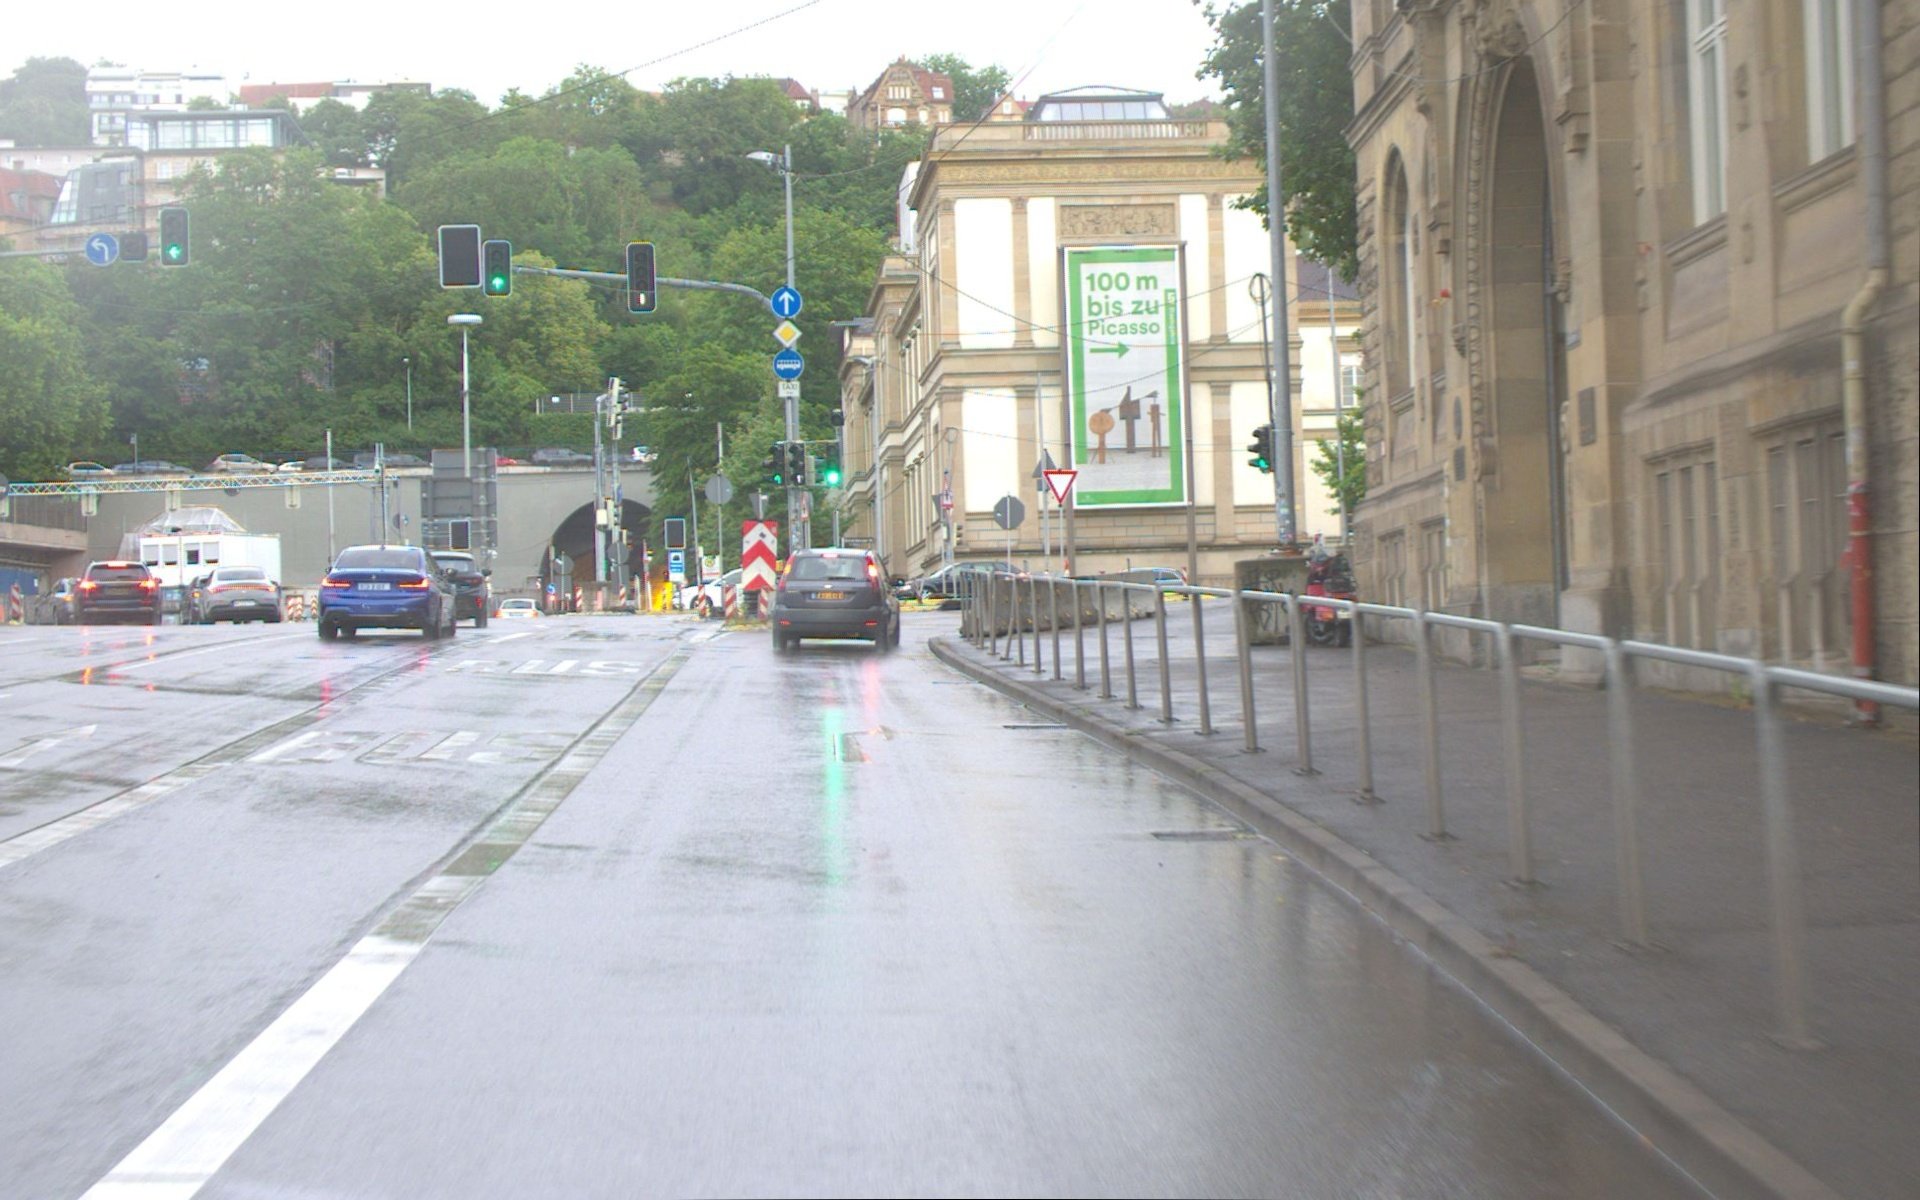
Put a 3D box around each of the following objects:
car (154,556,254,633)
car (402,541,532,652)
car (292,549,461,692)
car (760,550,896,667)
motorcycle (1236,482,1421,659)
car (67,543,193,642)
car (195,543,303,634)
[{"bbox_3d":[-21.586,-0.130,98.255,1.993,2.007,4.000,-2,-2,-1],"label":"car"},{"bbox_3d":[-9.640,-0.037,67.435,1.776,2.007,3.999,-2,-2,2],"label":"car"},{"bbox_3d":[-8.944,0.356,52.976,2.104,2.044,4.000,-2,-2,-4],"label":"car"},{"bbox_3d":[-1.865,0.160,49.460,1.812,1.522,4.000,-2,-1,-1],"label":"car"},{"bbox_3d":[4.418,-0.363,41.651,1.795,2.007,3.813,-1,1,0],"label":"motorcycle"},{"bbox_3d":[-18.334,-0.134,76.097,2.016,2.007,4.000,-2,-2,-4],"label":"car"},{"bbox_3d":[-17.332,-0.262,83.972,2.051,2.007,4.000,-2,-2,-5],"label":"car"}]
